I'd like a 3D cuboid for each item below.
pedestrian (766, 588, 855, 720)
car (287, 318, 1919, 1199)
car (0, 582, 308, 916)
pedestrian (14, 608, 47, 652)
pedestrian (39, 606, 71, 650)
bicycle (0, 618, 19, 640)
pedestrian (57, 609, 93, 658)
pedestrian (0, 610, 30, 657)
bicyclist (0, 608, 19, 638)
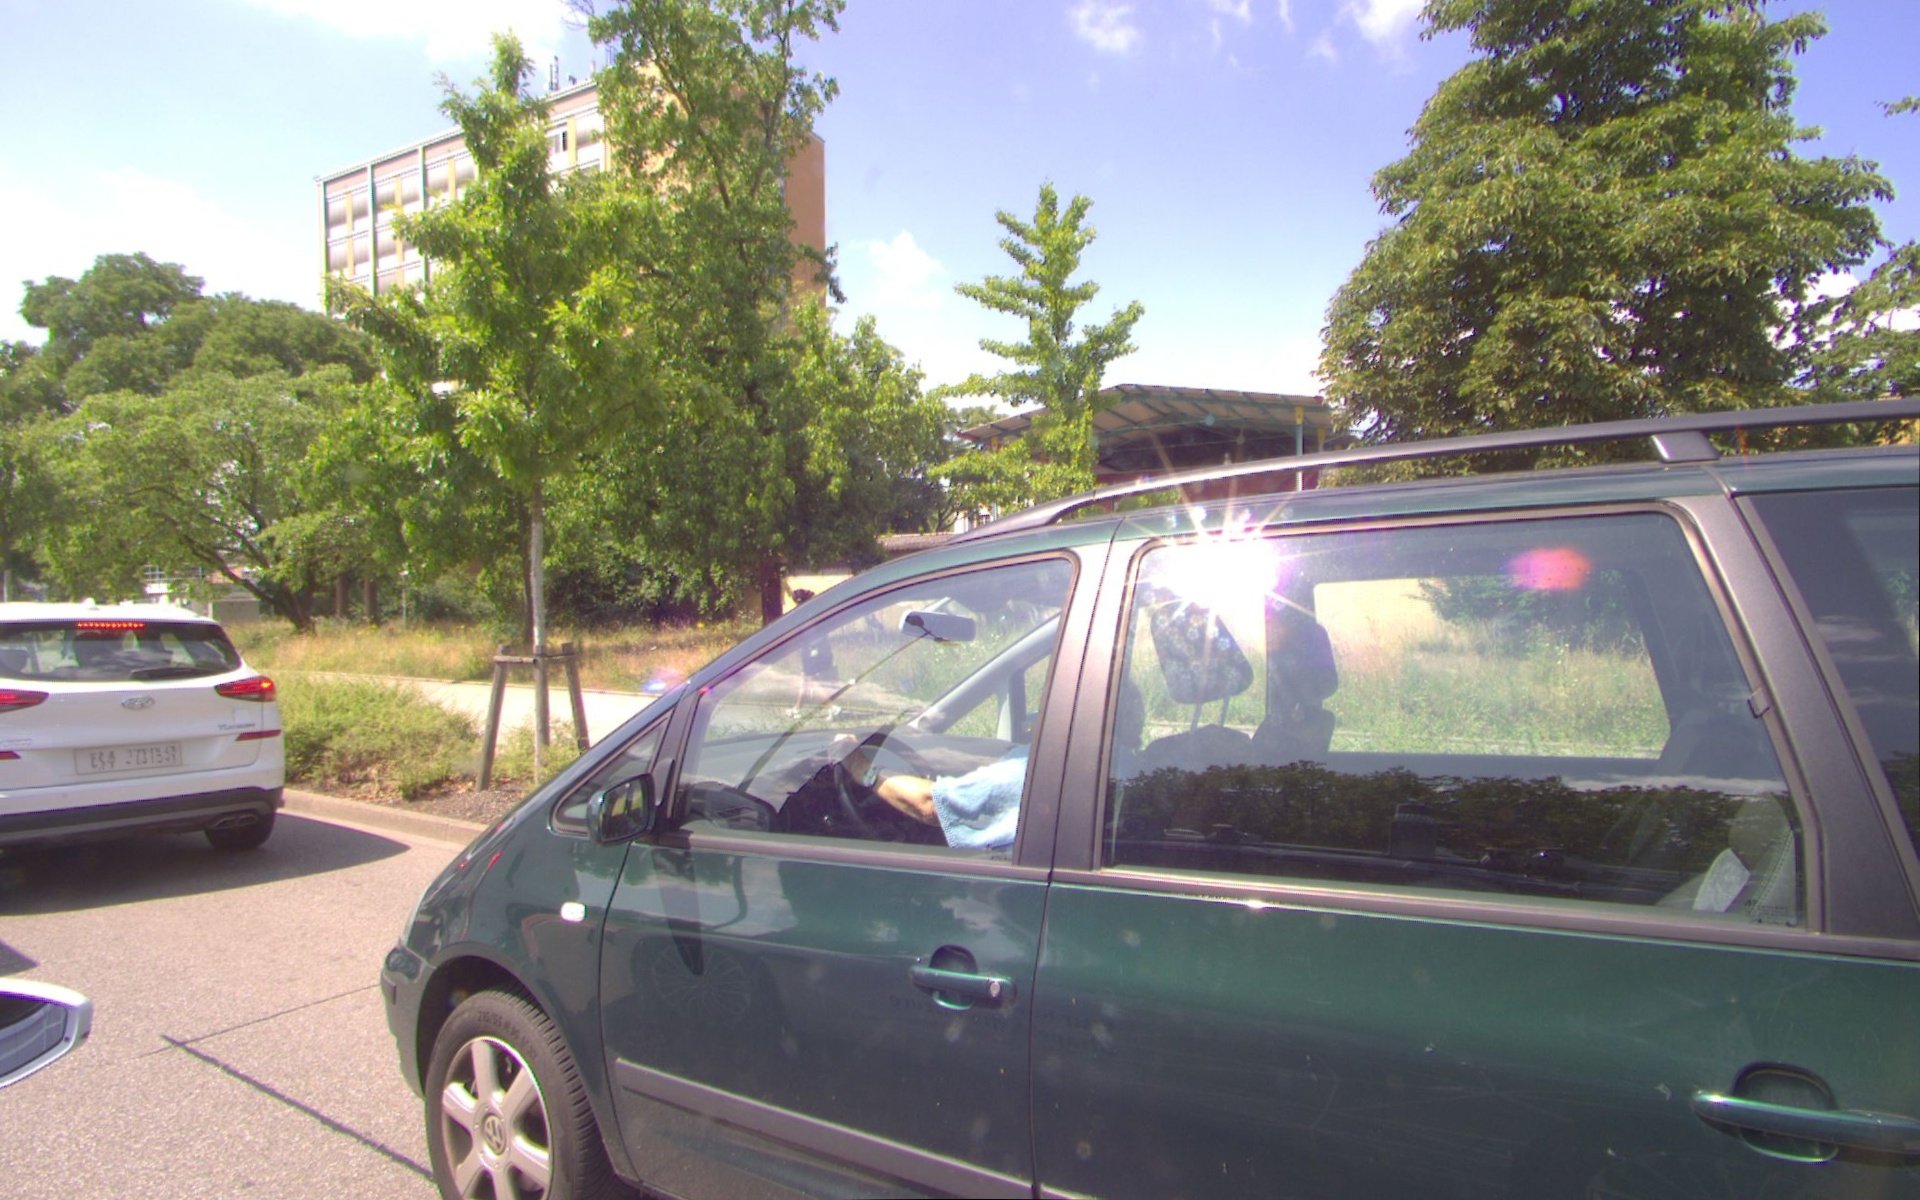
[{"bbox_3d":[-1.862,0.646,12.476,0.805,1.578,0.757,0,1,34],"label":"pedestrian"},{"bbox_3d":[0.519,0.631,2.295,4.329,1.737,1.799,0,-2,32],"label":"car"},{"bbox_3d":[-6.211,0.772,6.625,3.919,1.700,1.810,0,0,34],"label":"car"},{"bbox_3d":[-39.946,1.279,43.035,0.802,1.874,0.759,0,1,22],"label":"pedestrian"},{"bbox_3d":[-39.637,1.214,43.861,0.803,1.874,0.759,0,1,24],"label":"pedestrian"},{"bbox_3d":[-69.266,2.080,72.624,1.415,1.483,4.270,0,0,-42],"label":"bicycle"},{"bbox_3d":[-30.332,1.137,34.307,0.805,1.677,0.756,0,1,36],"label":"pedestrian"},{"bbox_3d":[-38.886,1.365,41.177,0.804,1.874,0.757,0,1,31],"label":"pedestrian"},{"bbox_3d":[-69.206,1.657,72.556,1.422,2.200,1.326,-1,1,-43],"label":"bicyclist"}]
